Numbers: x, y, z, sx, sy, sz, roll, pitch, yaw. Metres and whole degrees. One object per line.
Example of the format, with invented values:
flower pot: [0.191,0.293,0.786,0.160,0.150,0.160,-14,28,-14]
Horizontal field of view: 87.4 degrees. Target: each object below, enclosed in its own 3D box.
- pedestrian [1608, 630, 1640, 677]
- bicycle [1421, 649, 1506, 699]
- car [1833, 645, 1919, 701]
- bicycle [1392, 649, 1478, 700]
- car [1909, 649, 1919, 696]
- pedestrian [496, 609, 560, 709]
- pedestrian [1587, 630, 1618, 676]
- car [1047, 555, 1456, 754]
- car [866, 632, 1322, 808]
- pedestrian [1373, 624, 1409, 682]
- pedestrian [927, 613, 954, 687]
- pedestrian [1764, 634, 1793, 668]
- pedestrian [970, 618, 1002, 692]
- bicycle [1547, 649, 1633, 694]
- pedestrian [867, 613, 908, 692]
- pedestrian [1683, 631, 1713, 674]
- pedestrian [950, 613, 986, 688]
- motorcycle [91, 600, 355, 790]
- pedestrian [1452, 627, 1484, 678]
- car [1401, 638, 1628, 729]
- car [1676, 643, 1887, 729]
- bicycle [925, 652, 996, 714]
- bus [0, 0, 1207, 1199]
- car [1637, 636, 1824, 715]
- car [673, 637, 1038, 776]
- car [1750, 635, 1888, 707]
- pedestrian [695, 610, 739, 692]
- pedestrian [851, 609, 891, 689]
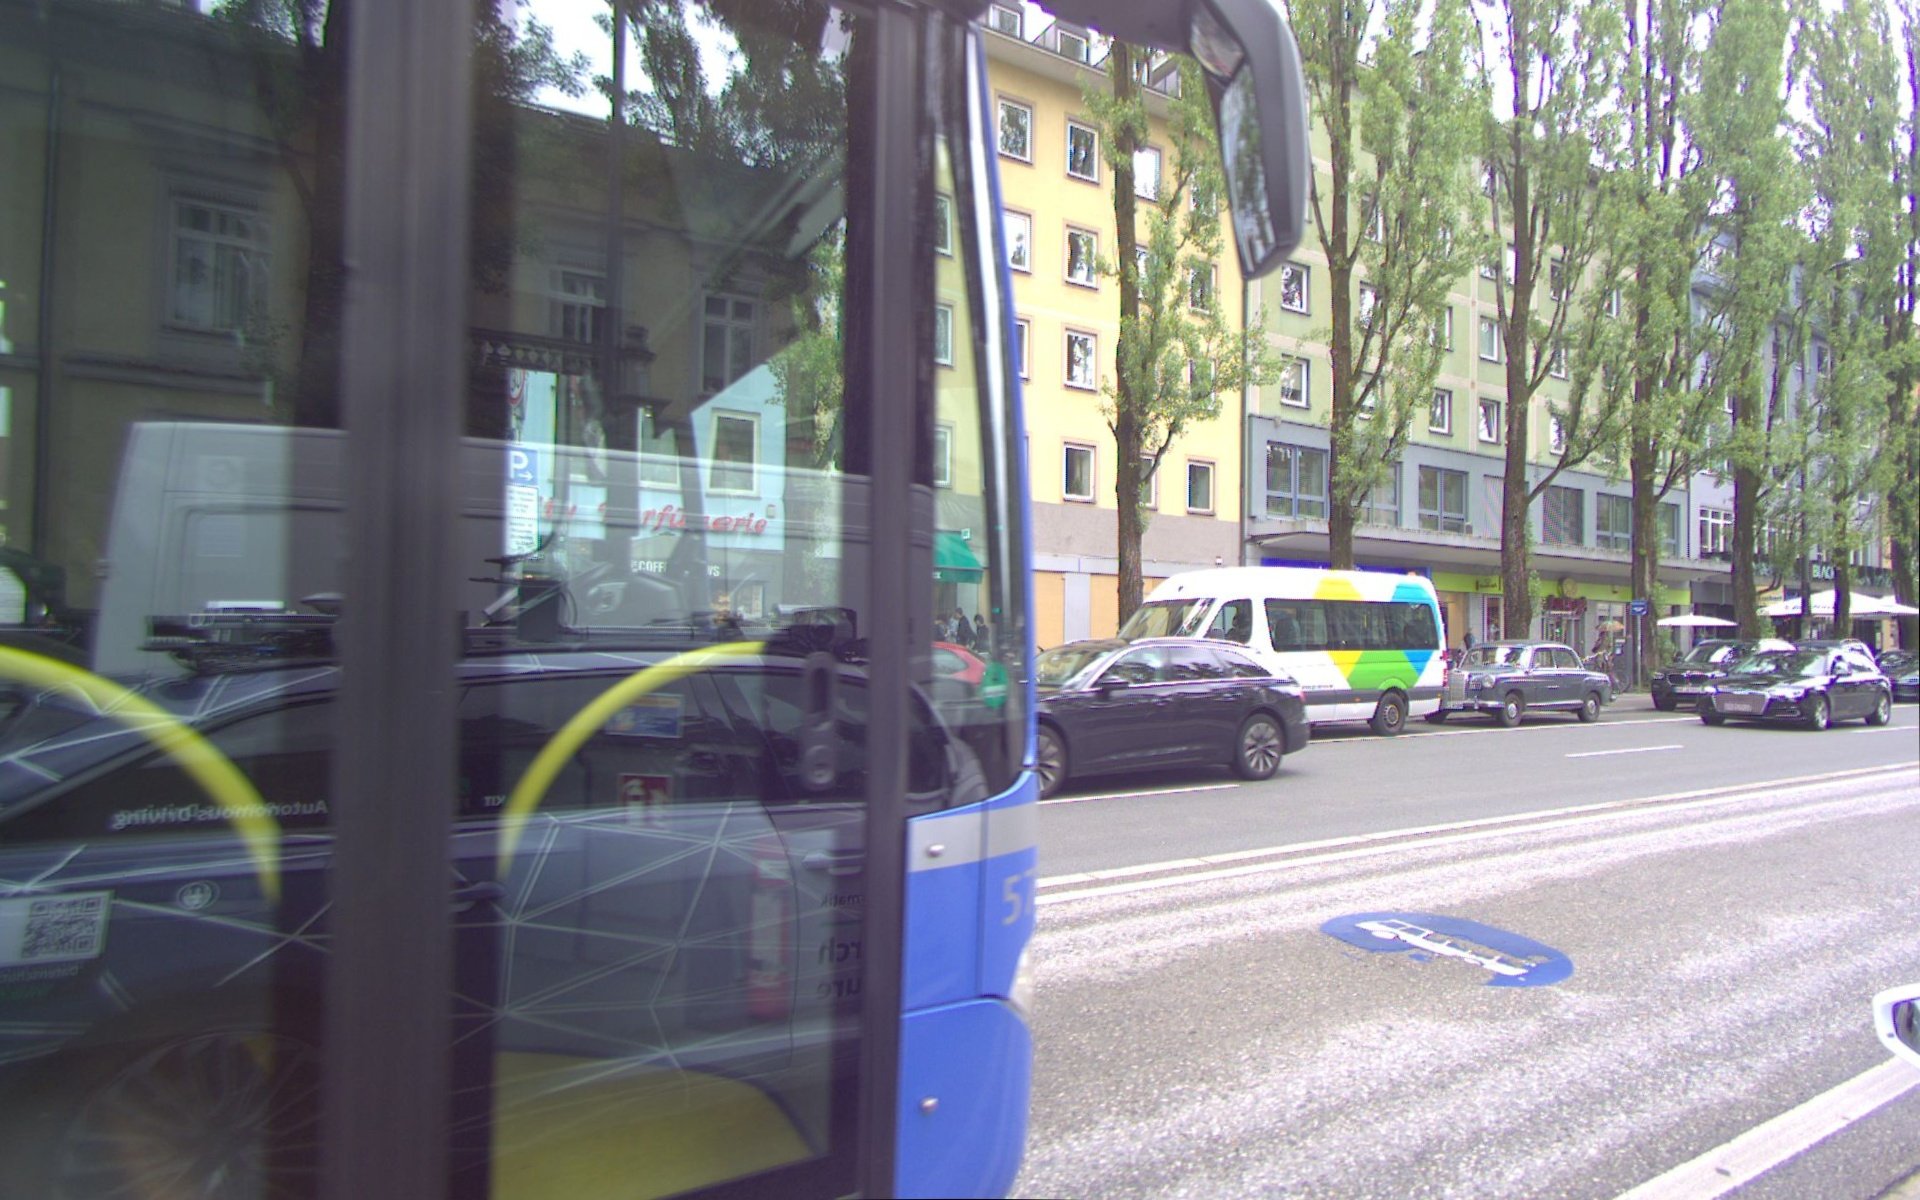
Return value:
pedestrian: [24.312,1.965,36.785,0.667,1.708,0.753,2,-3,-28]
bicycle: [12.775,1.856,25.539,0.710,1.110,1.862,1,1,-27]
car: [27.172,2.070,28.921,4.299,1.508,1.790,2,-3,-30]
bicycle: [11.755,1.827,24.899,0.710,1.110,1.862,1,1,-27]
car: [31.711,2.257,31.493,4.095,1.444,1.725,2,-3,-30]
pedestrian: [-7.444,1.004,17.315,0.938,1.668,0.695,1,-2,-28]
pedestrian: [23.977,1.972,37.501,0.667,1.708,0.753,2,-3,-28]
car: [4.723,0.845,15.720,6.831,2.601,1.996,2,-3,-30]
car: [1.490,1.117,10.426,4.657,1.481,1.690,2,-3,-30]
pedestrian: [12.824,1.572,29.896,0.667,1.708,0.753,2,-3,-29]
pedestrian: [-0.452,1.134,22.797,0.553,1.657,0.699,1,-2,-6]
pedestrian: [36.296,2.257,44.546,0.792,1.428,0.760,2,0,-35]
pedestrian: [0.604,1.289,23.731,0.712,1.722,0.700,1,-2,0]
bicycle: [18.064,2.026,28.832,0.712,1.110,1.933,1,1,-35]
pedestrian: [-1.632,1.172,22.532,0.717,1.722,0.695,1,-2,-25]
pedestrian: [29.610,2.115,40.297,0.667,1.708,0.753,2,-3,-29]
pedestrian: [0.173,1.124,22.498,0.713,1.657,0.699,1,-2,-6]
motorcycle: [-6.788,0.815,9.247,2.301,1.584,0.715,1,-1,18]
pedestrian: [17.361,1.781,34.335,0.749,1.708,0.670,2,-3,-29]
car: [10.712,1.548,19.355,4.362,1.572,1.858,2,-3,-30]
car: [15.498,1.557,18.920,4.081,1.453,1.738,2,-3,-30]
bicycle: [-0.013,1.492,18.419,0.416,1.040,1.764,2,-2,-32]
bus: [-4.474,-0.227,0.477,9.936,2.988,2.676,2,-2,-31]
car: [17.994,1.708,23.408,4.557,1.686,1.858,2,-3,-30]
car: [-1.220,1.202,12.251,4.100,1.438,1.729,2,-3,-30]
car: [22.440,1.829,26.218,3.880,1.743,1.700,2,-3,-33]
pedestrian: [-5.016,1.041,20.726,0.718,1.657,0.695,1,-2,-28]
pedestrian: [-2.055,1.122,23.196,0.717,1.818,0.695,1,-2,-25]
